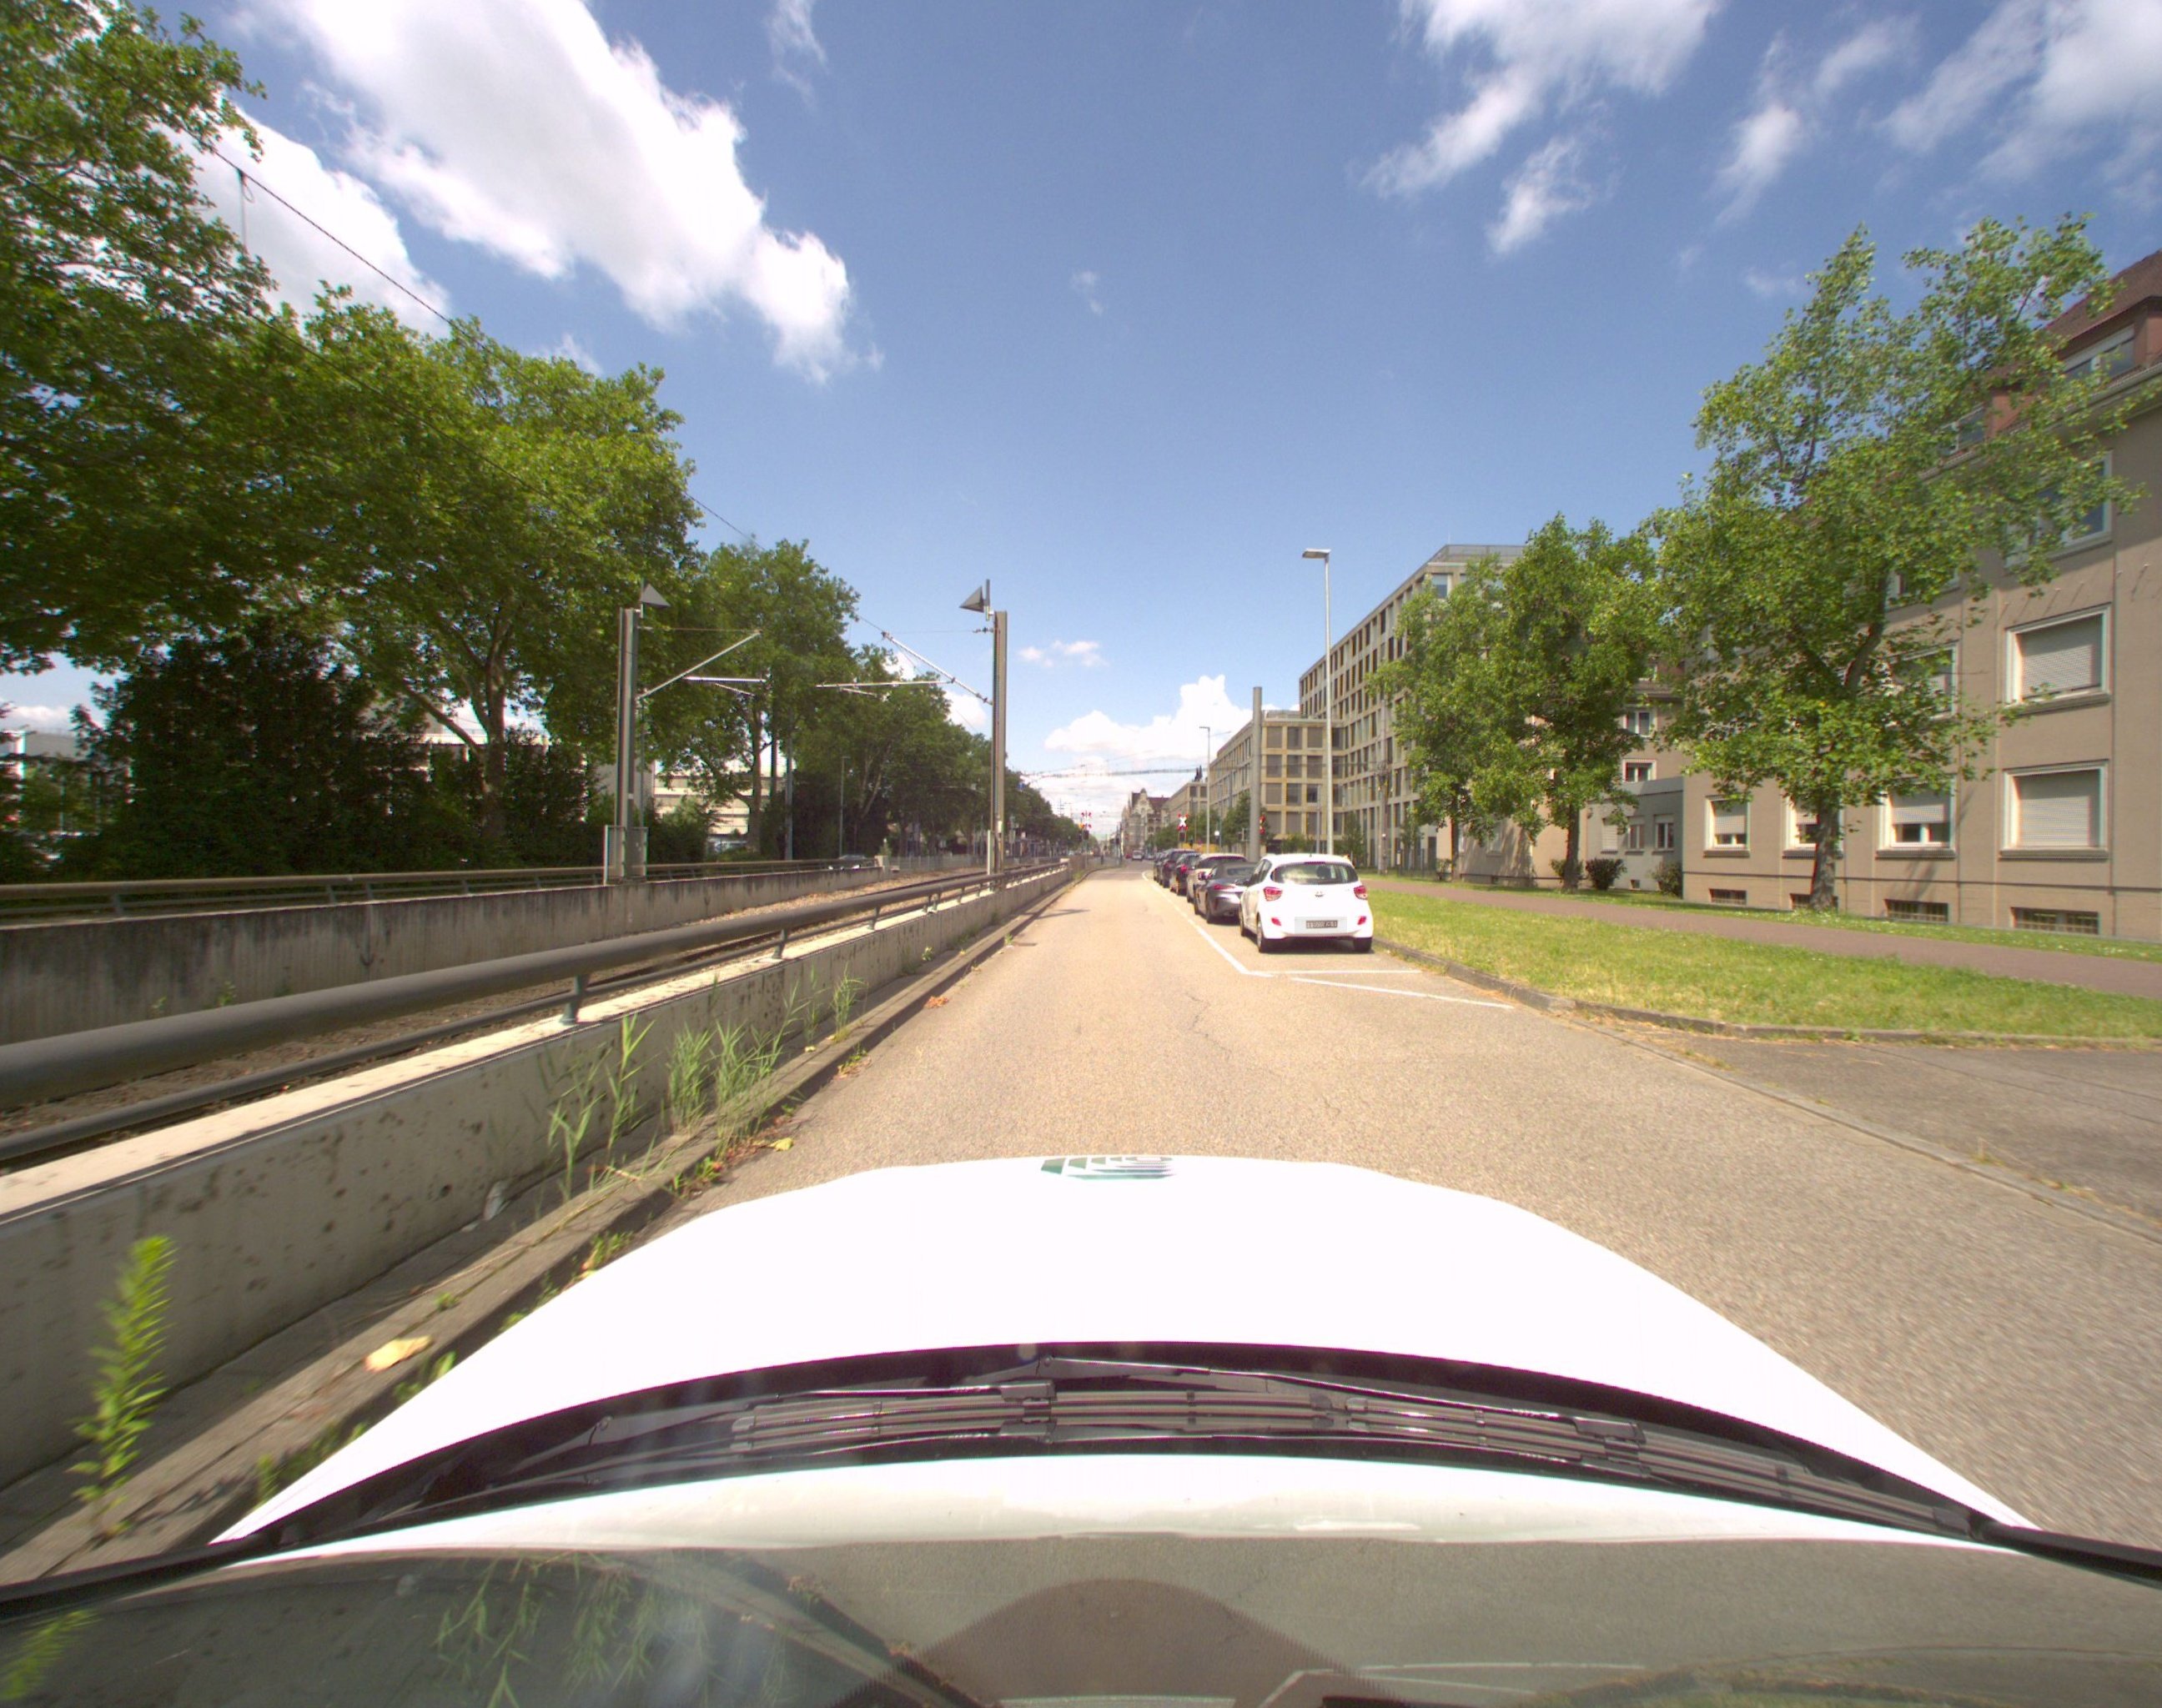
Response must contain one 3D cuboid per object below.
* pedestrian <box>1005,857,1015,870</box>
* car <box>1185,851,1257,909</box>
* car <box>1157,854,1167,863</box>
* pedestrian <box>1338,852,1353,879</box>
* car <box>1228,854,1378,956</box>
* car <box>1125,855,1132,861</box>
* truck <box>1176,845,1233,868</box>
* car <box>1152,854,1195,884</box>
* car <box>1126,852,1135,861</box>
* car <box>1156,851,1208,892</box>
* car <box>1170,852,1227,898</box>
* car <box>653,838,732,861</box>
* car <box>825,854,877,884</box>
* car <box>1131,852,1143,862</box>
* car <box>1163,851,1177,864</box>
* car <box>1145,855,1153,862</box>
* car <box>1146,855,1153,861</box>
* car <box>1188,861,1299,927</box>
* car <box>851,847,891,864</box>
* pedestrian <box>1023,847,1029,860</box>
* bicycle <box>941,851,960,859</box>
[{"bbox_3d":[-7.332,0.971,84.191,0.859,1.343,0.922,-1,-1,-1],"label":"pedestrian"},{"bbox_3d":[3.950,0.698,23.488,1.662,1.515,3.854,-1,0,4],"label":"car"},{"bbox_3d":[15.317,0.827,154.596,1.679,1.606,4.153,-1,0,2],"label":"car"},{"bbox_3d":[15.505,0.677,47.709,0.620,1.608,0.624,-1,-1,-1],"label":"pedestrian"},{"bbox_3d":[3.566,0.743,13.751,1.700,1.479,3.793,0,0,3],"label":"car"},{"bbox_3d":[11.498,0.894,195.480,1.438,1.470,4.092,-1,0,0],"label":"car"},{"bbox_3d":[15.444,0.328,102.240,6.785,2.867,2.454,1,-1,-1],"label":"truck"},{"bbox_3d":[4.740,0.739,42.379,1.809,1.454,4.992,0,0,2],"label":"car"},{"bbox_3d":[11.802,0.631,195.340,1.986,2.014,4.002,-1,0,2],"label":"car"},{"bbox_3d":[4.359,0.694,35.735,1.809,1.662,4.672,0,0,2],"label":"car"},{"bbox_3d":[4.154,0.695,29.255,1.637,1.530,4.446,-1,0,3],"label":"car"},{"bbox_3d":[-24.640,-0.281,51.739,3.971,1.442,2.001,1,0,2],"label":"car"},{"bbox_3d":[-13.348,0.845,47.428,1.661,1.597,4.300,0,0,2],"label":"car"},{"bbox_3d":[9.961,0.479,143.971,1.862,1.746,4.001,2,0,1],"label":"car"},{"bbox_3d":[14.519,0.577,133.639,1.874,1.939,4.845,-1,0,2],"label":"car"},{"bbox_3d":[16.572,1.128,198.538,1.586,1.434,4.106,3,0,0],"label":"car"},{"bbox_3d":[15.747,0.883,187.422,1.585,1.460,3.615,2,0,3],"label":"car"},{"bbox_3d":[3.607,0.836,18.826,1.817,1.312,4.444,0,0,2],"label":"car"},{"bbox_3d":[-23.028,0.163,89.421,3.976,1.750,1.802,0,0,-2],"label":"car"},{"bbox_3d":[-7.408,-0.066,109.496,0.704,1.845,0.864,-1,-1,1],"label":"pedestrian"},{"bbox_3d":[-22.960,0.187,143.264,3.023,1.167,0.635,4,0,6],"label":"bicycle"}]
